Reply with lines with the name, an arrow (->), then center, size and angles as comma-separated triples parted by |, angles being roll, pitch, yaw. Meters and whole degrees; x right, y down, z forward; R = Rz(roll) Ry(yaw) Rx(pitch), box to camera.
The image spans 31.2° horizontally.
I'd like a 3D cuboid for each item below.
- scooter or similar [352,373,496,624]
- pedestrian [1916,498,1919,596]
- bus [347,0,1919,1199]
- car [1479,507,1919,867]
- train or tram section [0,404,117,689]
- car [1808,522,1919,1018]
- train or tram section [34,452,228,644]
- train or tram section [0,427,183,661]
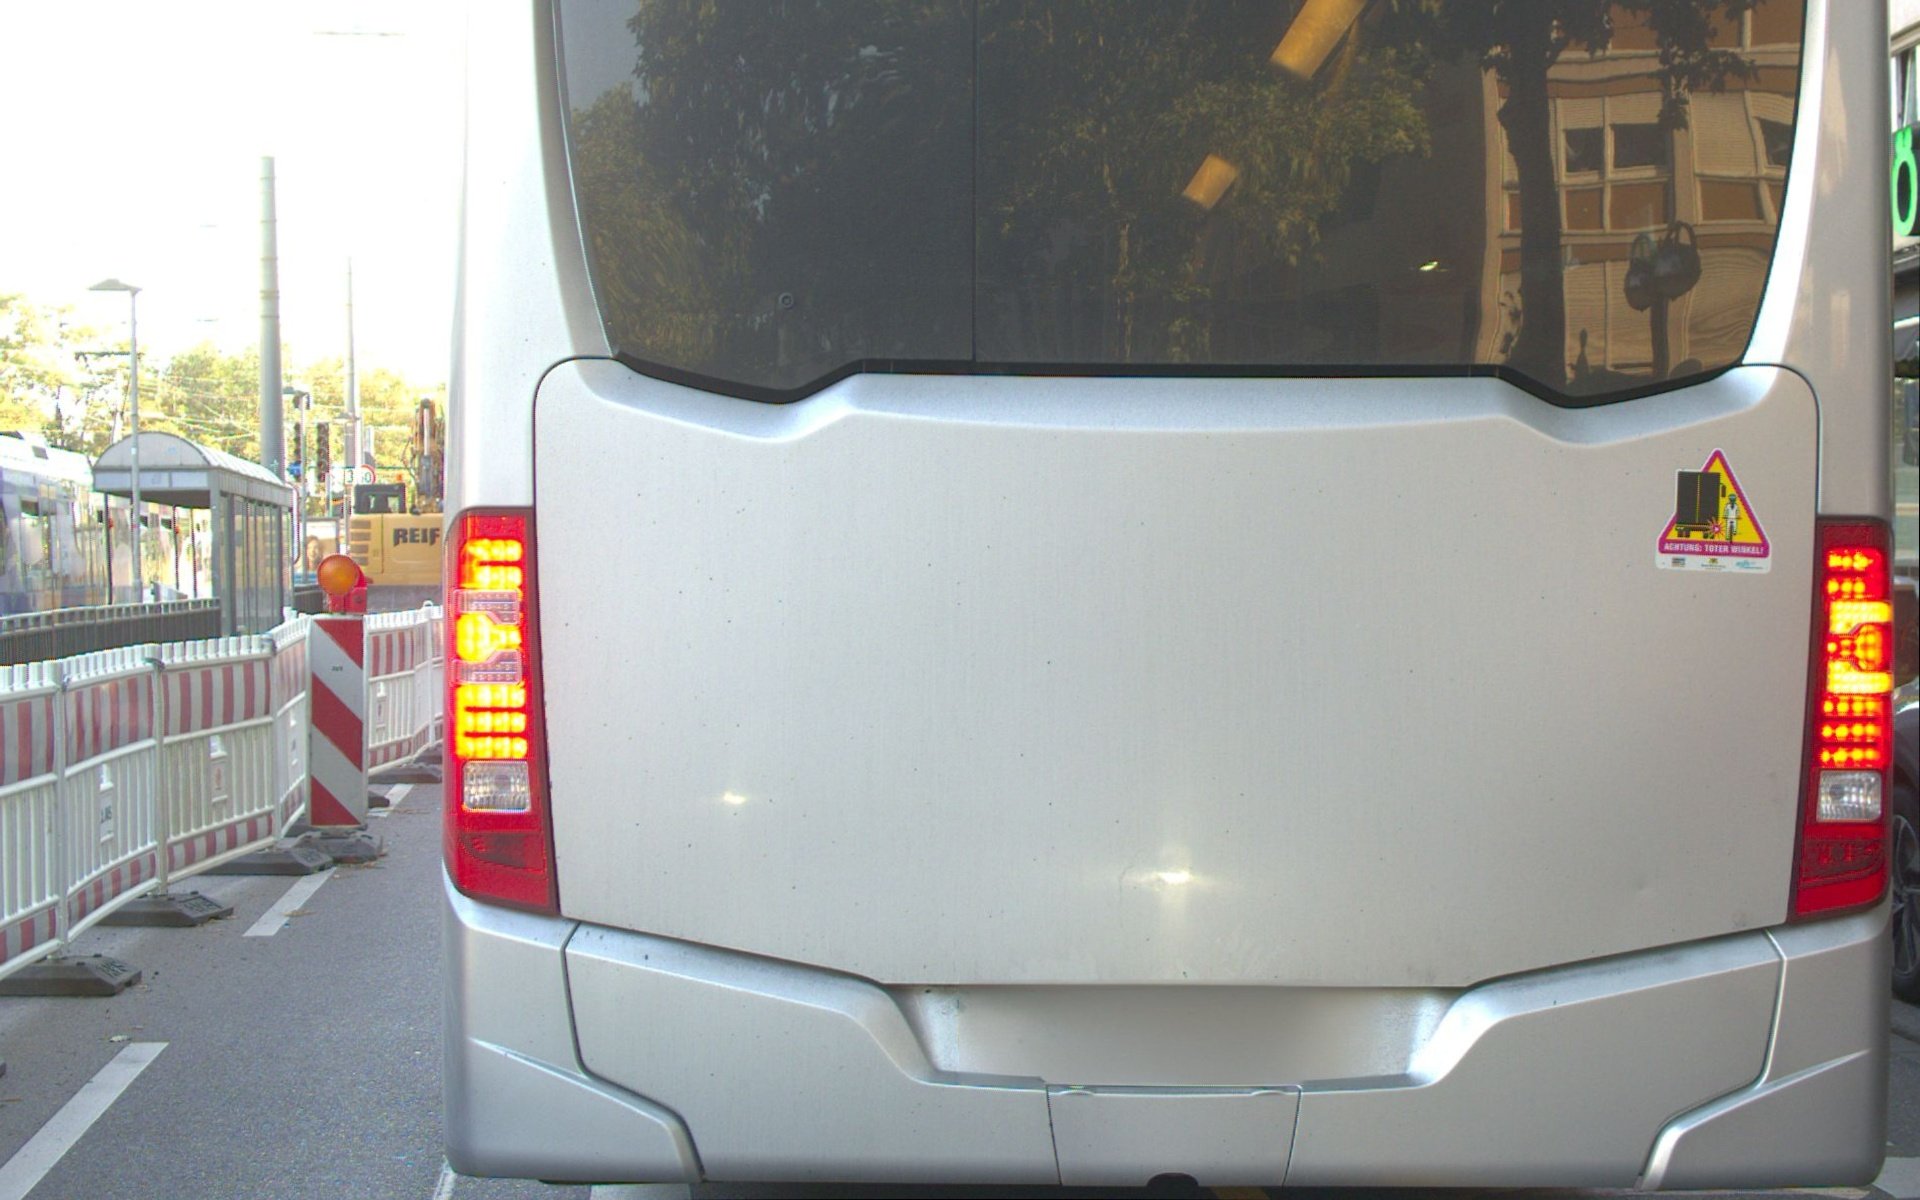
scooter or similar -> -9.966, -1.848, 64.315 | 2.468, 4.455, 5.974 | -1, 1, -8
pedestrian -> 6.812, 0.135, 23.133 | 0.664, 1.661, 0.600 | -2, 0, 16
bus -> 0.304, -0.203, 9.502 | 2.611, 3.115, 7.993 | 1, 1, -1
car -> 4.259, 0.345, 18.030 | 1.993, 1.576, 4.369 | -3, 1, -5
train or tram section -> -13.660, -0.719, 46.601 | 2.686, 3.521, 11.774 | 1, 1, -6
car -> 4.147, 0.529, 9.773 | 1.993, 1.576, 4.369 | -3, 1, -5
train or tram section -> -16.626, -1.023, 69.665 | 2.686, 3.521, 11.585 | 1, 1, -8
train or tram section -> -15.050, -0.923, 58.165 | 2.686, 3.546, 11.585 | 1, 1, -8
